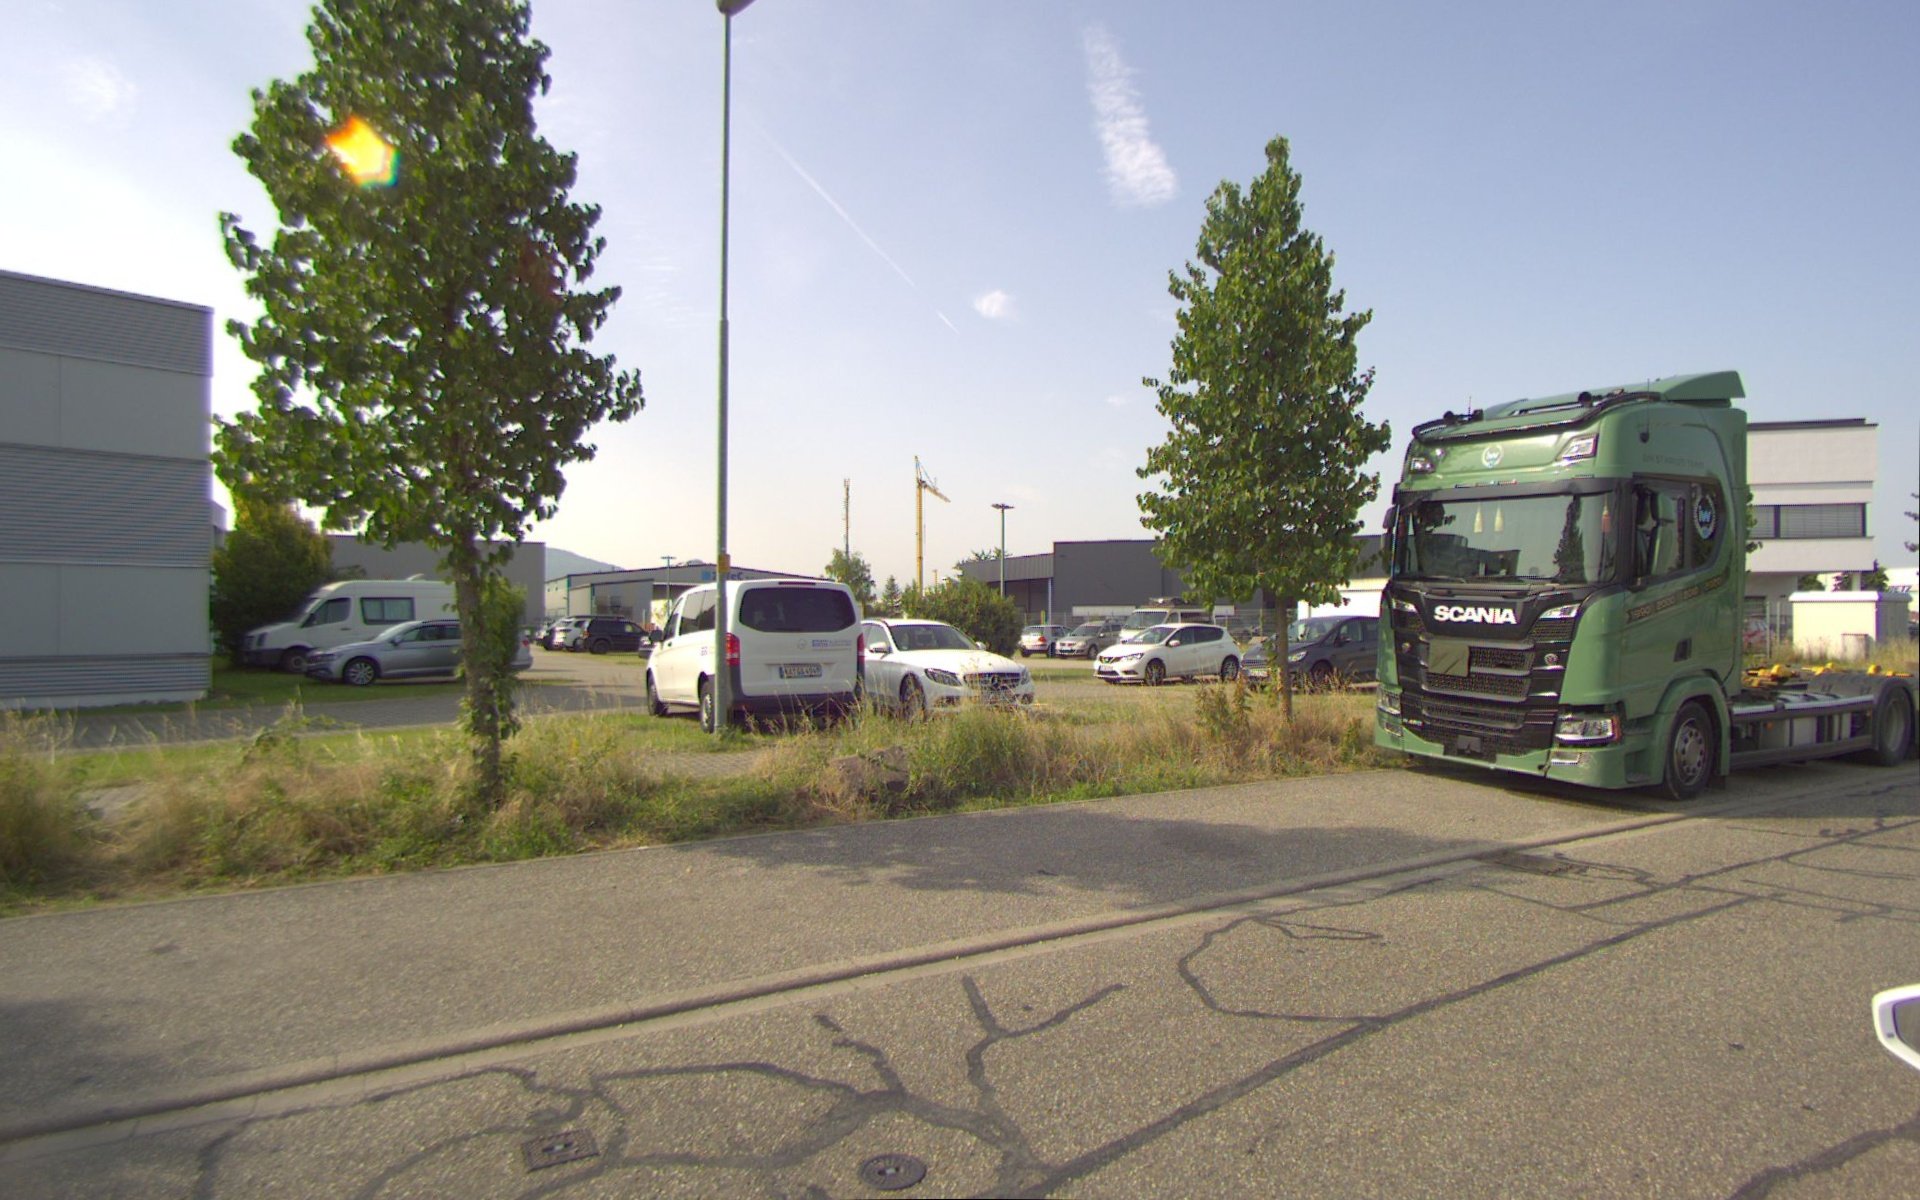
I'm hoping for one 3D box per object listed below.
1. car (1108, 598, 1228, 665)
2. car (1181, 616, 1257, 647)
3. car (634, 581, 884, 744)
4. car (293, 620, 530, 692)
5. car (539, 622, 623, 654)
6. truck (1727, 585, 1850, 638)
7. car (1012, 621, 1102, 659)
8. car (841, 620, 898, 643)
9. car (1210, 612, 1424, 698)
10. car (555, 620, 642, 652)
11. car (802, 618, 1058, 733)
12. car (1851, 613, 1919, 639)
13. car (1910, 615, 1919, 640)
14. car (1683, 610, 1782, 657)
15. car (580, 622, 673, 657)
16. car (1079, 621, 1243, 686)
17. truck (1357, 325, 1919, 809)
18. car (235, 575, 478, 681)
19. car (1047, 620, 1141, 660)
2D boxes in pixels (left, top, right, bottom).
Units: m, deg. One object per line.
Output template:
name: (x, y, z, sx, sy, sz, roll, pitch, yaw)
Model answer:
car: (8.610, 1.306, 41.247, 5.419, 2.580, 2.032, 2, -2, -42)
car: (15.379, 1.824, 59.629, 4.410, 1.751, 1.971, 0, -1, -35)
car: (-2.996, 0.759, 14.048, 2.078, 1.860, 4.682, 0, -1, -30)
car: (-12.447, 1.229, 23.032, 1.558, 1.500, 4.498, -1, -2, 43)
car: (-20.622, 2.061, 54.626, 4.099, 1.634, 1.834, 1, -2, -28)
truck: (66.682, 0.992, 81.333, 2.581, 3.981, 12.925, 0, -1, 15)
car: (4.427, 1.805, 45.535, 4.121, 1.634, 1.824, 2, -2, -42)
car: (-6.888, 2.416, 76.845, 3.951, 1.664, 1.858, 0, -1, -29)
car: (7.868, 1.134, 21.997, 4.647, 1.709, 1.983, 0, -2, -33)
car: (-18.948, 1.890, 52.625, 4.099, 1.634, 1.834, 1, -2, -28)
car: (-0.652, 1.009, 15.317, 1.976, 1.450, 4.706, 0, -1, -29)
car: (54.540, 1.501, 58.654, 3.433, 1.473, 1.598, 0, -1, 12)
car: (70.040, 1.992, 71.591, 1.961, 1.795, 3.999, 0, -1, 21)
car: (28.347, 1.204, 36.829, 4.262, 1.545, 1.758, -1, 0, -36)
car: (-16.347, 1.925, 49.253, 4.099, 1.634, 1.834, 1, -2, -28)
car: (5.243, 1.343, 26.070, 4.167, 1.536, 1.696, 1, -2, -32)
truck: (8.896, -0.188, 11.654, 9.686, 3.933, 2.444, 1, 0, -30)
car: (-17.099, 0.797, 28.769, 1.686, 2.730, 5.721, -1, -2, 42)
car: (5.783, 1.707, 43.130, 4.121, 1.634, 1.824, 2, -2, -42)
